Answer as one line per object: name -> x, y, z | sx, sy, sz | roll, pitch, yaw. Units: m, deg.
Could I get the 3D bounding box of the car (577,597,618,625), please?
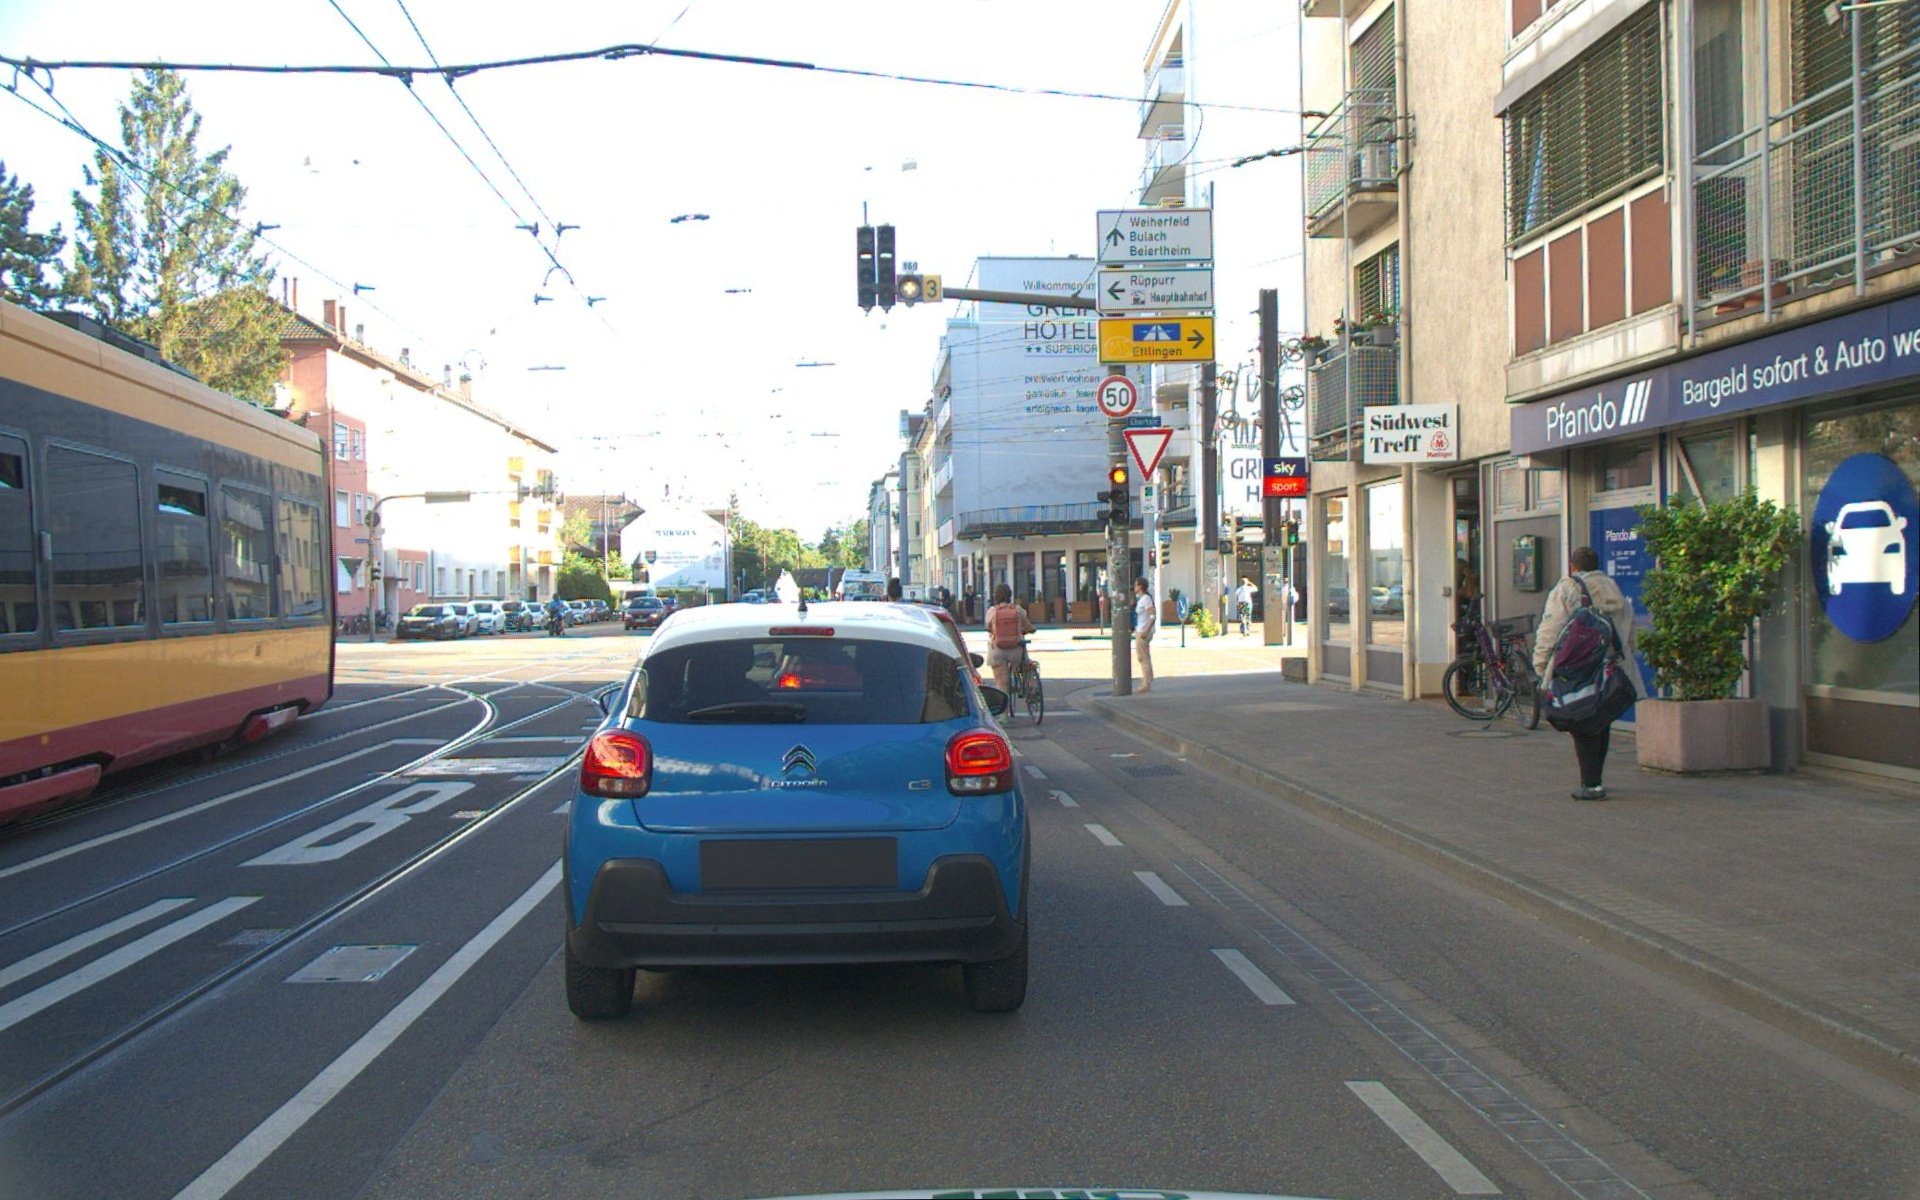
car -> -23.204, 0.707, 105.879 | 1.944, 1.716, 3.997 | 1, 0, -4

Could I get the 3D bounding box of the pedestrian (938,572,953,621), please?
pedestrian -> -0.629, -0.157, 70.298 | 0.565, 2.049, 0.625 | 1, -1, -3

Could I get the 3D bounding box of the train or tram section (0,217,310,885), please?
train or tram section -> -7.194, -0.286, 11.951 | 2.774, 3.694, 9.063 | 1, 0, -10

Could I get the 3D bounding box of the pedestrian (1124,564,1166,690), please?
pedestrian -> 2.712, 0.395, 24.262 | 0.507, 1.814, 0.595 | 1, -1, -3

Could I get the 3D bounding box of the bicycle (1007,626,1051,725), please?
bicycle -> 0.838, 0.907, 20.514 | 0.419, 1.142, 1.998 | 1, 0, -1

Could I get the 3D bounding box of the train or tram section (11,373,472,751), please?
train or tram section -> -9.167, -0.339, 23.429 | 2.695, 3.695, 14.229 | 1, 0, -10

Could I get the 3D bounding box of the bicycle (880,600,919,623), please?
bicycle -> -2.521, 0.487, 69.306 | 1.751, 0.917, 0.365 | 1, -1, 34

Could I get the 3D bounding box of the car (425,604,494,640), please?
car -> -22.128, 0.963, 73.275 | 1.778, 1.524, 4.299 | 1, 0, -1

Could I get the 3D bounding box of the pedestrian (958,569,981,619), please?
pedestrian -> 0.405, -0.255, 69.354 | 0.699, 2.049, 0.755 | 1, -1, -21

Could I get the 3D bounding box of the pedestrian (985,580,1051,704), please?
pedestrian -> 0.704, 0.508, 20.243 | 0.761, 1.486, 0.681 | 1, -1, -1

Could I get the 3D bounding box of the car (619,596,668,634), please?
car -> -14.548, 0.693, 76.160 | 1.740, 1.695, 3.853 | 1, 0, -4

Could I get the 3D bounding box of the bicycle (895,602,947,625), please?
bicycle -> -1.587, 0.565, 67.626 | 2.093, 0.917, 0.366 | 1, -1, -10

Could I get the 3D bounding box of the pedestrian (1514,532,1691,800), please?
pedestrian -> 4.045, 0.401, 10.459 | 0.808, 1.620, 0.751 | 1, -1, -1

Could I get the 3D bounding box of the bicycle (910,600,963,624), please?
bicycle -> -0.933, 0.487, 65.880 | 2.093, 0.917, 0.366 | 1, -1, -10

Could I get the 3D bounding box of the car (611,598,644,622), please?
car -> -24.281, 0.717, 120.920 | 1.809, 1.716, 3.871 | 1, 0, -4

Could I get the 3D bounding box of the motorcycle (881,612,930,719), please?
motorcycle -> -0.620, 0.733, 19.416 | 0.515, 1.159, 2.289 | 1, 0, -1

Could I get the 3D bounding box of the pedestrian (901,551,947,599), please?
pedestrian -> -1.603, -1.080, 73.524 | 1.953, 2.049, 3.999 | 1, 0, -1

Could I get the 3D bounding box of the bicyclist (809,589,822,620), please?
bicyclist -> -7.168, 0.217, 81.956 | 0.550, 1.503, 0.746 | 1, -1, -8

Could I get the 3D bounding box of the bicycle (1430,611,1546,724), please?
bicycle -> 5.044, 0.616, 15.888 | 0.531, 1.016, 1.705 | 1, 0, -1

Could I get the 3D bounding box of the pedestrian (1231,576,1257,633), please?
pedestrian -> 8.231, 0.130, 47.913 | 0.720, 1.629, 0.749 | 1, -1, 9

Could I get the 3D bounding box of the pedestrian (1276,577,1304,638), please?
pedestrian -> 9.360, 0.218, 46.934 | 0.736, 1.686, 0.884 | 1, -1, 10

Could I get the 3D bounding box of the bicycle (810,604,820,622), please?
bicycle -> -7.184, 0.638, 81.988 | 0.342, 0.919, 1.855 | 1, 0, -9

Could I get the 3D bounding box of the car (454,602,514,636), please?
car -> -22.606, 0.888, 78.637 | 1.751, 1.537, 4.148 | 1, 0, -2

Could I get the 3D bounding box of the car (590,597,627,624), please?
car -> -23.599, 0.687, 111.138 | 1.845, 1.716, 3.997 | 1, 0, -4

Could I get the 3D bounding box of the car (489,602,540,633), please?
car -> -23.072, 0.884, 85.718 | 1.750, 1.524, 3.997 | 1, 0, -4

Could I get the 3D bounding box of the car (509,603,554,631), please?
car -> -23.761, 0.924, 91.812 | 1.699, 1.524, 3.996 | 1, 0, -5

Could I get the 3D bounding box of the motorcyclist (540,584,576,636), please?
motorcyclist -> -16.233, 0.386, 66.784 | 1.162, 2.049, 1.274 | -1, 0, -4

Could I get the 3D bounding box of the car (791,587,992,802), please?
car -> -0.506, 0.674, 13.180 | 1.395, 1.493, 2.923 | -1, 0, -1

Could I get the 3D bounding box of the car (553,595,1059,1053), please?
car -> -0.522, 0.739, 7.148 | 1.620, 1.469, 3.522 | 1, 0, -1

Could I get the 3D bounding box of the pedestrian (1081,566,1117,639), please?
pedestrian -> 3.951, 0.071, 47.029 | 0.907, 2.049, 0.759 | 1, -1, -1

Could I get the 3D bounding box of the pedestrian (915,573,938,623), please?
pedestrian -> -1.392, -0.090, 69.154 | 0.625, 2.049, 0.715 | 1, -1, -37

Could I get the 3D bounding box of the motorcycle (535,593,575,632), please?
motorcycle -> -16.251, 0.486, 66.508 | 0.905, 1.512, 3.723 | 1, 0, -4

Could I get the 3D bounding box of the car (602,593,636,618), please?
car -> -23.956, 0.389, 116.284 | 1.797, 1.716, 3.997 | 1, 0, -4

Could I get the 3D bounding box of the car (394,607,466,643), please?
car -> -21.911, 1.017, 68.458 | 1.757, 1.446, 3.994 | 1, 0, -2

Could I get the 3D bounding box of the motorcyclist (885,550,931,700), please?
motorcyclist -> -0.612, 0.291, 19.606 | 0.516, 1.746, 0.717 | 1, -1, -1

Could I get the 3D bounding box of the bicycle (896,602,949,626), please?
bicycle -> -1.519, 0.570, 67.221 | 2.093, 0.917, 0.366 | 1, -1, -10

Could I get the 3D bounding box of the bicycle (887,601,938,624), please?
bicycle -> -1.957, 0.505, 68.247 | 2.093, 0.917, 0.366 | 1, -1, -10

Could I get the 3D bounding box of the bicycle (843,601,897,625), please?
bicycle -> -3.602, 0.530, 66.163 | 2.093, 0.917, 0.366 | 1, -1, -10
